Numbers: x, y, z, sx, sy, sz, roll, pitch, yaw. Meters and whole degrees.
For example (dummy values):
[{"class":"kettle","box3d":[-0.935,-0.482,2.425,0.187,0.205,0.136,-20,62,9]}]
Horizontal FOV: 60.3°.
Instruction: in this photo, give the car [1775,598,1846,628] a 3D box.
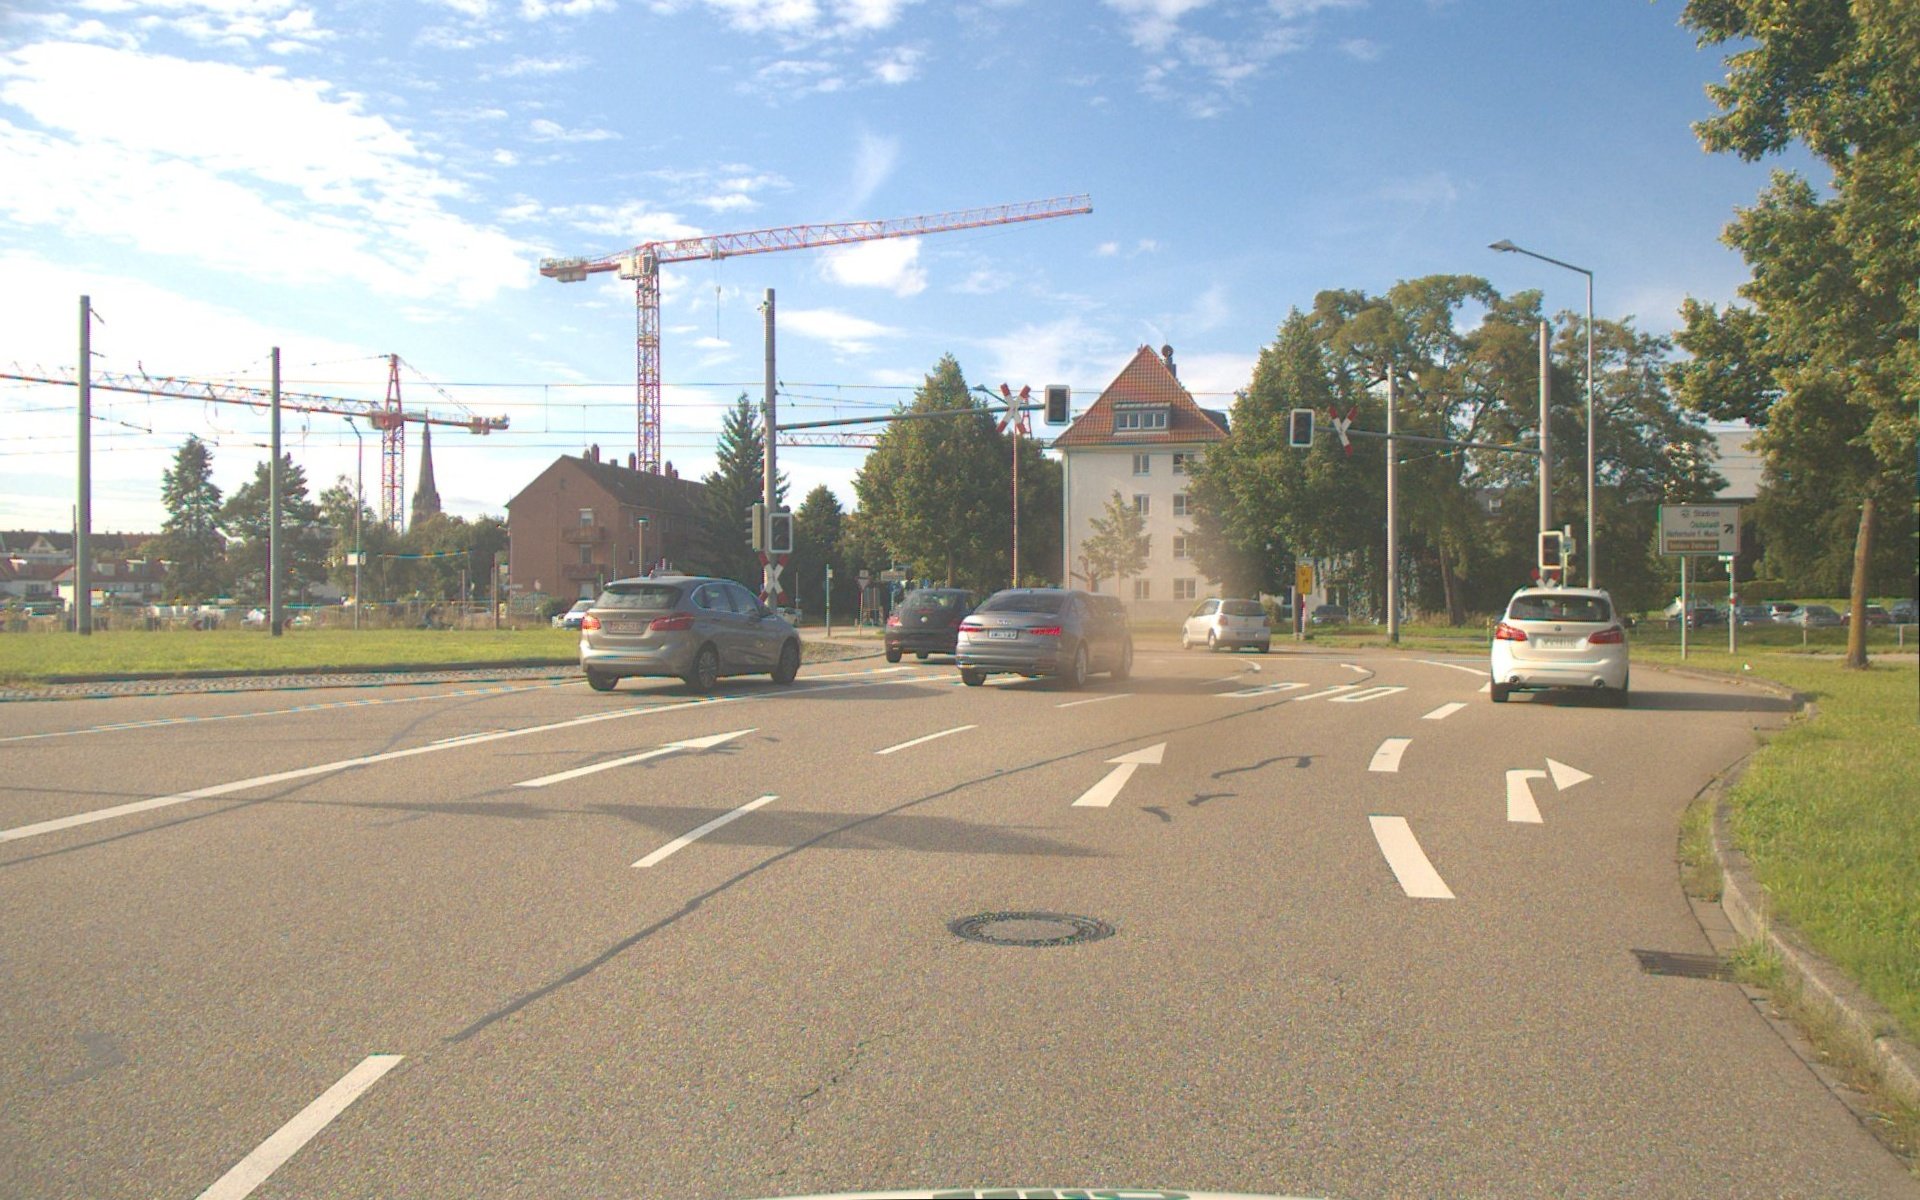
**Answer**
[{"class":"car","box3d":[40.555,0.621,78.981,1.815,1.382,4.838,-1,-1,13]}]

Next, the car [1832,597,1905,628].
[{"class":"car","box3d":[42.971,0.600,78.331,1.815,1.386,4.473,-1,-1,13]}]

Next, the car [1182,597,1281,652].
[{"class":"car","box3d":[7.495,0.678,46.038,1.813,1.451,4.452,1,-1,-3]}]

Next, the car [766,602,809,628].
[{"class":"car","box3d":[-13.241,1.170,127.316,1.855,1.936,4.664,1,-1,12]}]

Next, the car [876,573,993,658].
[{"class":"car","box3d":[-0.455,0.336,33.783,1.951,1.568,4.002,2,-1,5]}]

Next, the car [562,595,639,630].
[{"class":"car","box3d":[-20.329,0.738,93.713,1.858,1.936,4.658,0,-1,24]}]

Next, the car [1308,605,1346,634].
[{"class":"car","box3d":[18.416,0.983,82.985,1.815,1.405,4.519,-1,-1,13]}]

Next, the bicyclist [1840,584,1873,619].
[{"class":"bicyclist","box3d":[36.533,0.058,67.406,0.987,1.379,0.710,-1,0,-19]}]

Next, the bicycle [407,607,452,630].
[{"class":"bicycle","box3d":[-27.257,0.954,84.973,2.103,1.157,0.771,-1,0,-9]}]

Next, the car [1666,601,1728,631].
[{"class":"car","box3d":[35.402,0.766,79.573,1.815,1.383,4.737,-1,-1,13]}]

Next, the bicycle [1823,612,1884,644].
[{"class":"bicycle","box3d":[36.410,1.143,67.380,2.482,1.244,0.710,-1,0,-19]}]

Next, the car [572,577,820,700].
[{"class":"car","box3d":[-3.674,0.529,23.771,1.731,1.600,4.067,0,-1,21]}]

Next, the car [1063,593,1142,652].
[{"class":"car","box3d":[3.868,0.615,45.433,1.812,1.504,4.455,1,-1,1]}]

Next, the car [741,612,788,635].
[{"class":"car","box3d":[-13.906,1.659,117.985,1.855,1.570,4.664,1,-1,12]}]

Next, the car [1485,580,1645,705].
[{"class":"car","box3d":[8.710,0.575,23.597,1.813,1.600,4.452,0,-1,25]}]

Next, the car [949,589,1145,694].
[{"class":"car","box3d":[1.475,0.568,25.921,1.812,1.470,4.716,0,0,19]}]

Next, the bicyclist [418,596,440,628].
[{"class":"bicyclist","box3d":[-27.272,0.595,84.974,0.939,1.602,0.771,-1,0,-9]}]

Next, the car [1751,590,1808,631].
[{"class":"car","box3d":[44.583,0.599,90.086,1.832,2.049,4.813,1,-1,15]}]
